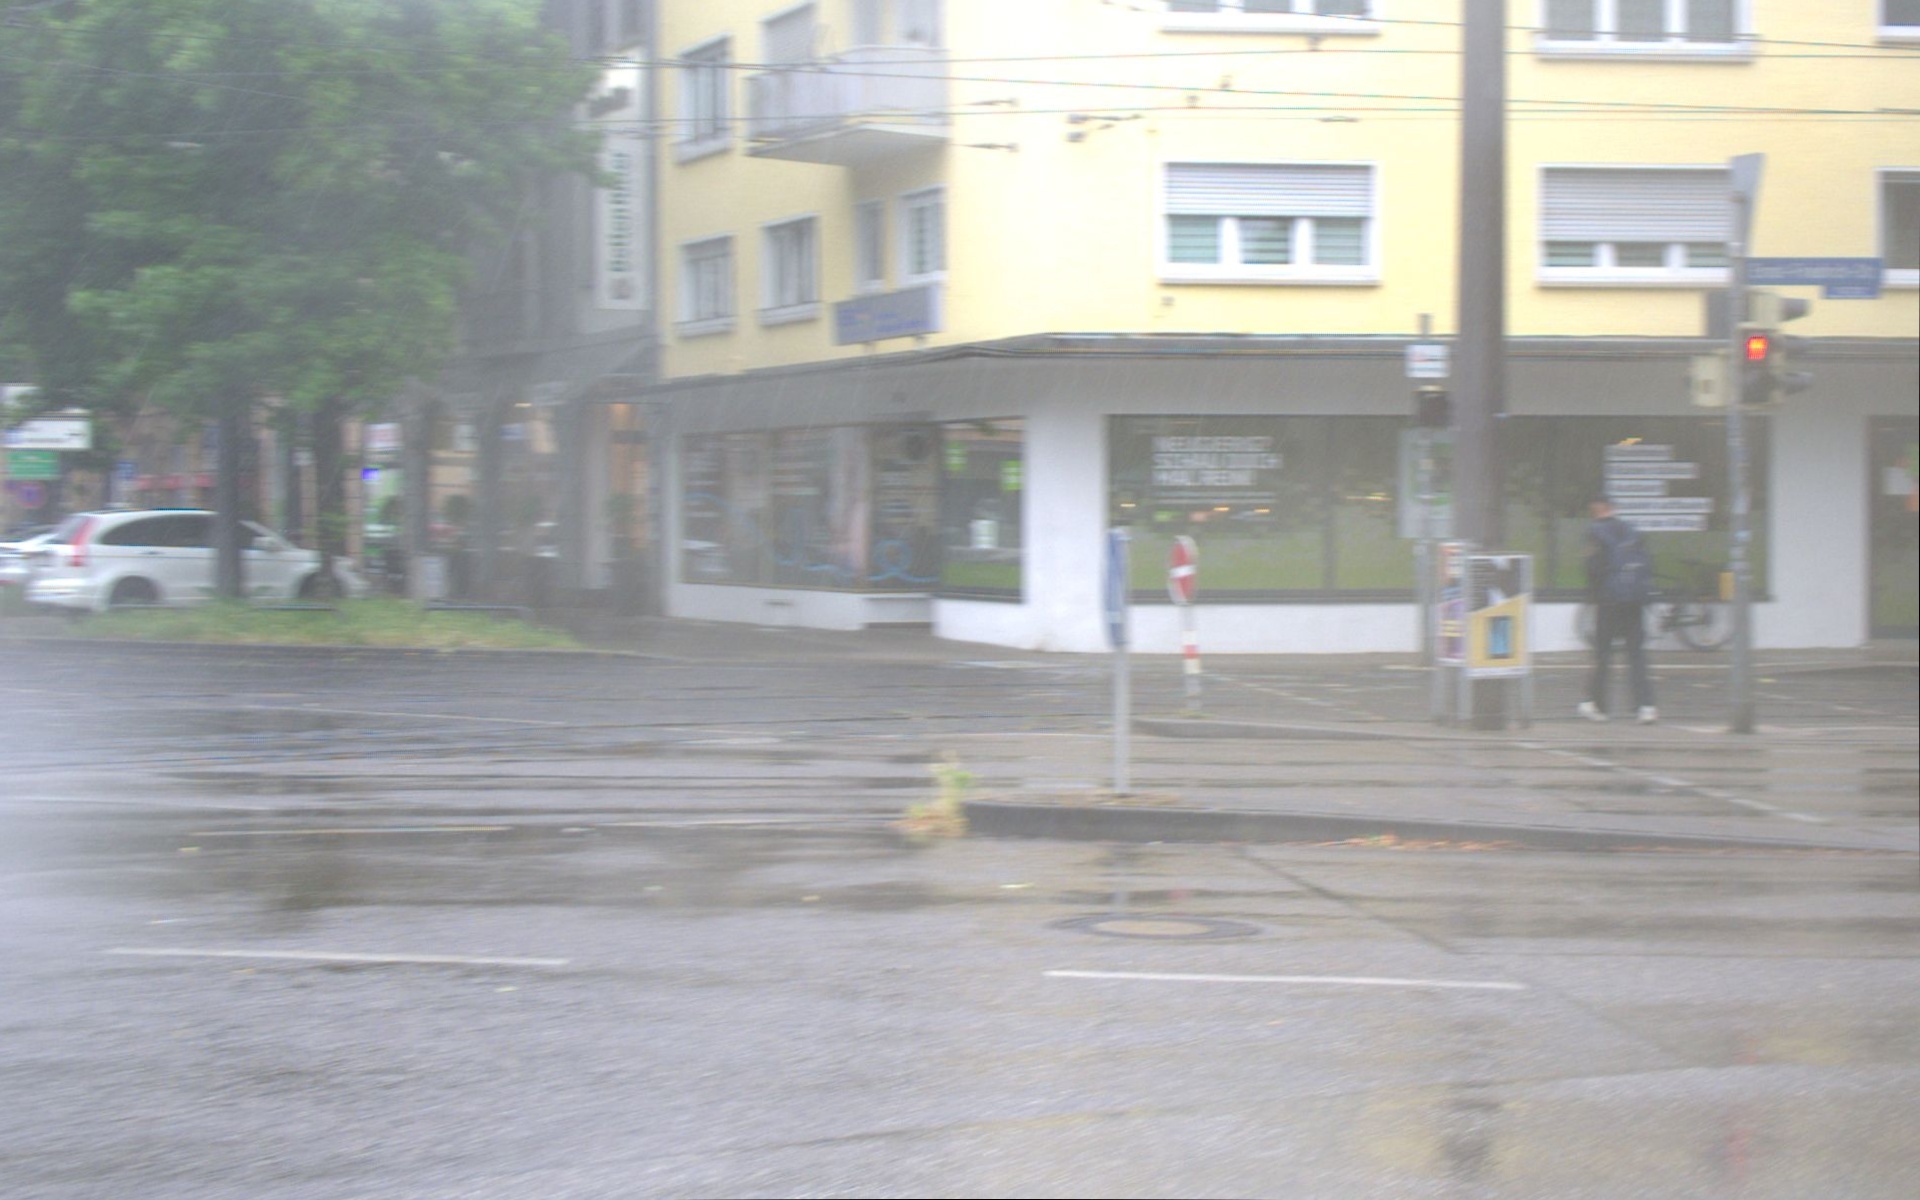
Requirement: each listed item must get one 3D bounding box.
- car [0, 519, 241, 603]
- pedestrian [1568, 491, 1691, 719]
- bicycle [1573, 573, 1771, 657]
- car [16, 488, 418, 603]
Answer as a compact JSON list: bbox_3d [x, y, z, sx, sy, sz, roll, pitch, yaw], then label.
[{"bbox_3d":[-16.239,-0.753,65.536,4.580,1.551,2.000,0,2,3],"label":"car"},{"bbox_3d":[5.035,0.023,25.898,0.812,1.671,1.017,1,1,7],"label":"pedestrian"},{"bbox_3d":[7.861,0.163,37.969,2.039,0.893,0.614,0,1,-5],"label":"bicycle"},{"bbox_3d":[-10.074,-0.774,46.679,4.972,1.469,2.000,-1,2,-28],"label":"car"}]
